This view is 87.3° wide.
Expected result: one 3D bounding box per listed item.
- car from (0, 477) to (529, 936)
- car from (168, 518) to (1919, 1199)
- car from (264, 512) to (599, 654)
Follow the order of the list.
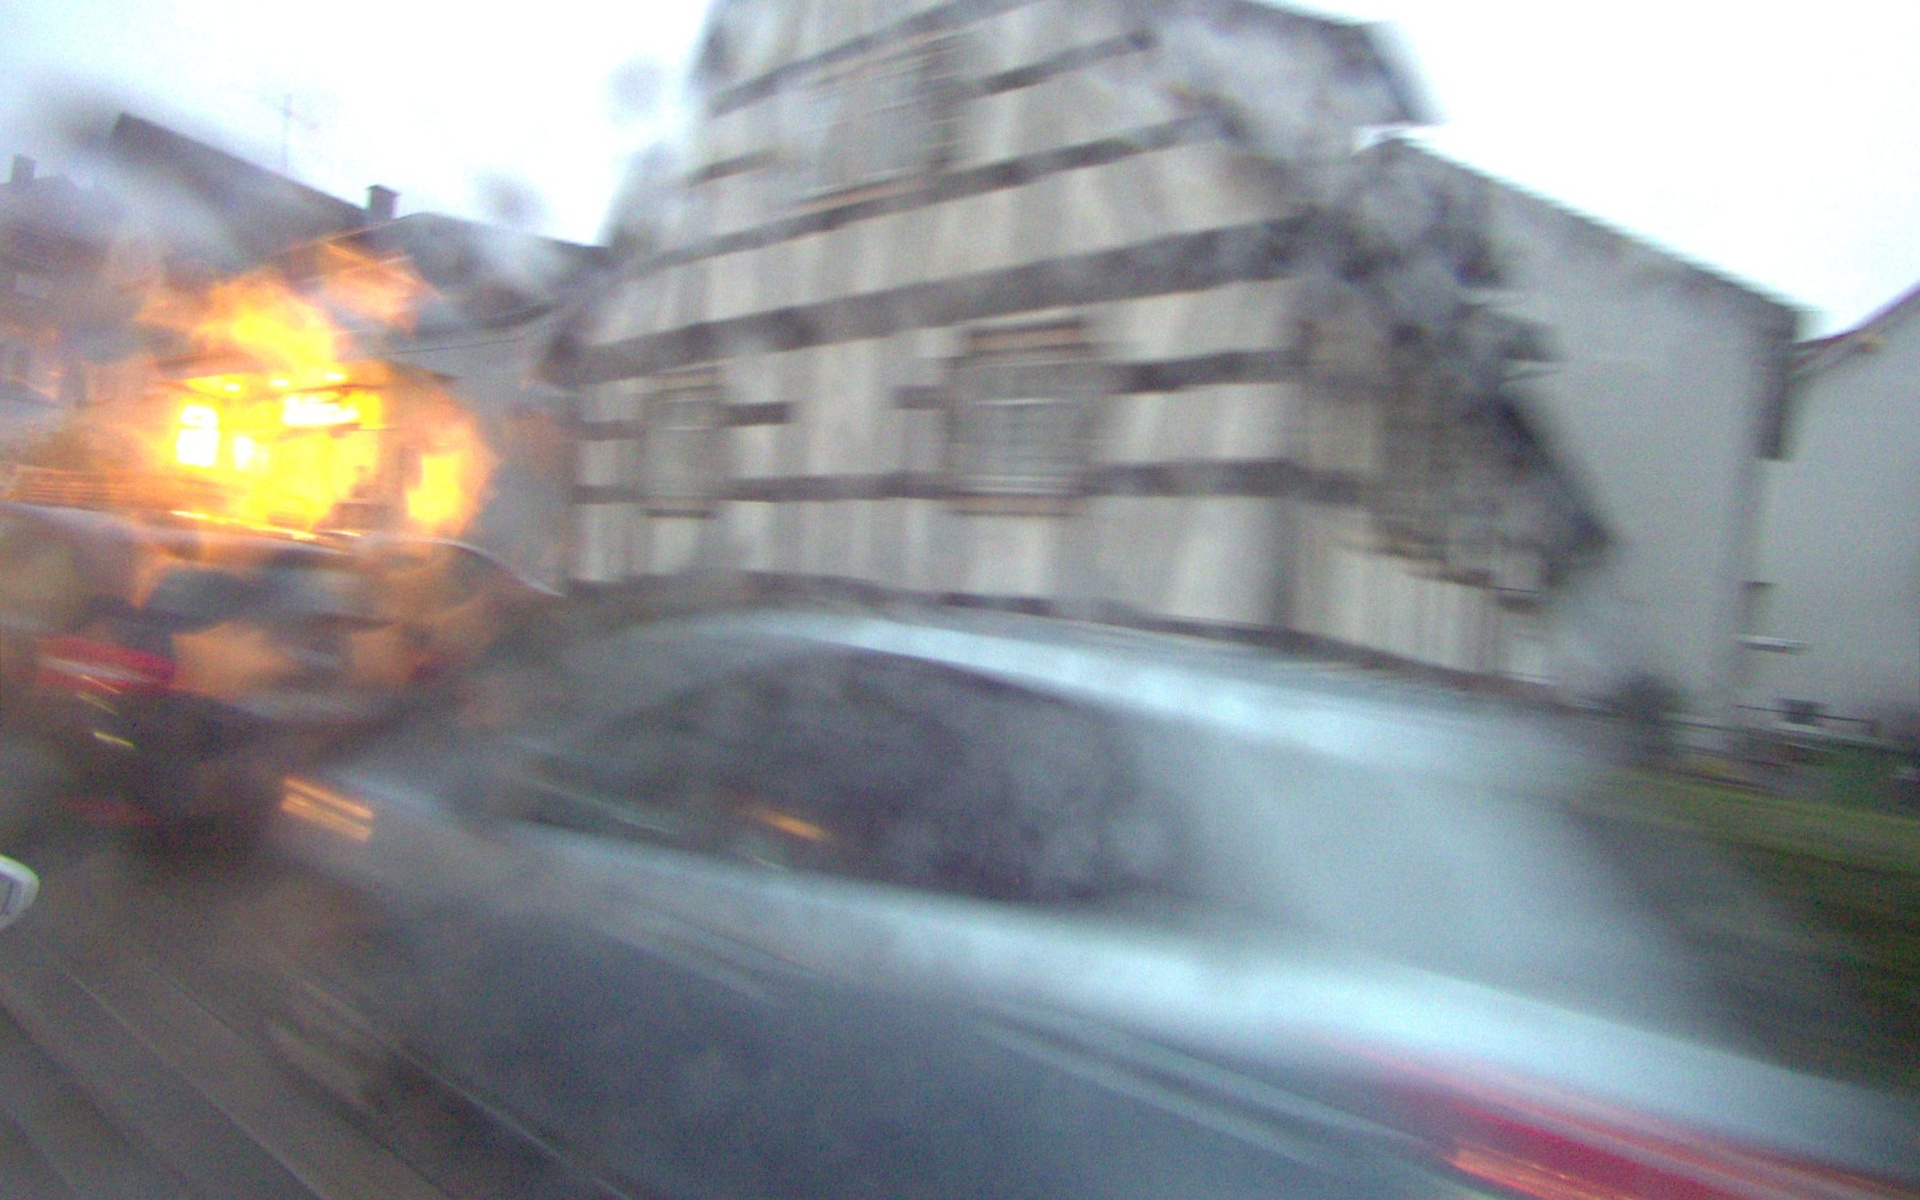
[{"bbox_3d":[-4.432,0.204,5.298,4.317,1.546,1.764,7,2,32],"label":"car"},{"bbox_3d":[-0.231,0.713,2.646,3.936,1.478,1.732,7,2,34],"label":"car"},{"bbox_3d":[-6.477,-0.181,12.620,1.659,1.460,3.289,6,2,32],"label":"car"}]
